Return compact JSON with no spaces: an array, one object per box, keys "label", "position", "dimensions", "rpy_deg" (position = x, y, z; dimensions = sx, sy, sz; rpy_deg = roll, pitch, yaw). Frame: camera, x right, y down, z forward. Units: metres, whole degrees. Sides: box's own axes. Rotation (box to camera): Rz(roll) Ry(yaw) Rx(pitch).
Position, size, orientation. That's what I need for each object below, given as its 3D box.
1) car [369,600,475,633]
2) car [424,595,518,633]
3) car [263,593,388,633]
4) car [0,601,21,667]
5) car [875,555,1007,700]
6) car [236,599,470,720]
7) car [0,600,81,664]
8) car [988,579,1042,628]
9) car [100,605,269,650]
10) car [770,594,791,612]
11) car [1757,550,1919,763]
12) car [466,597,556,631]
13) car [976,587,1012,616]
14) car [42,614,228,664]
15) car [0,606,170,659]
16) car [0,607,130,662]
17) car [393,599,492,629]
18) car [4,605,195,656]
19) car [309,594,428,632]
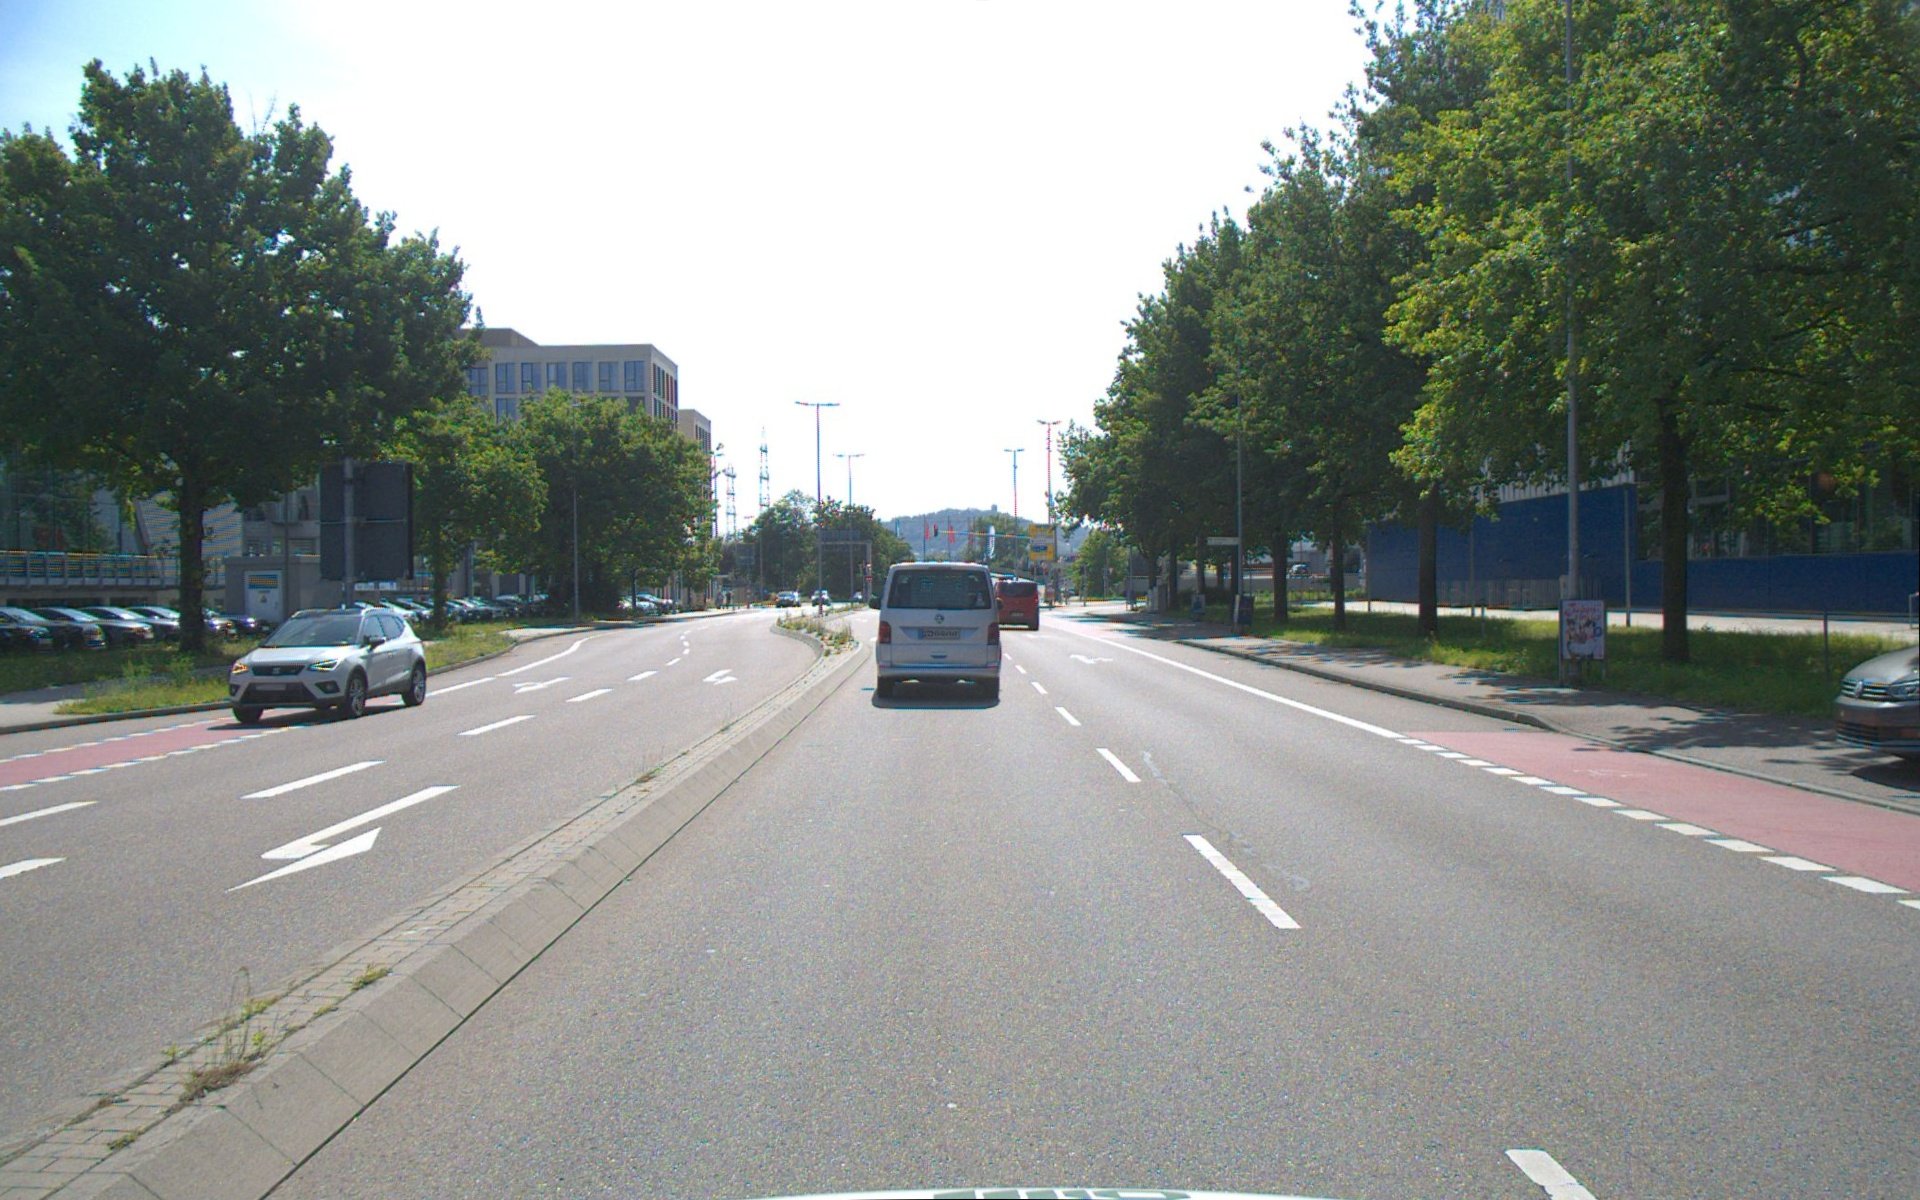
[{"label":"car","position":[-24.027,0.718,73.959],"dimensions":[4.091,1.096,1.954],"rpy_deg":[-4,1,-3]},{"label":"car","position":[-23.864,0.673,80.782],"dimensions":[3.907,1.467,2.000],"rpy_deg":[-5,0,-1]},{"label":"car","position":[-23.726,0.483,61.948],"dimensions":[3.909,1.176,1.896],"rpy_deg":[-4,1,-3]},{"label":"car","position":[-24.014,0.822,37.343],"dimensions":[4.410,1.502,1.979],"rpy_deg":[-1,0,-3]},{"label":"car","position":[-0.304,0.368,25.282],"dimensions":[1.846,2.025,3.999],"rpy_deg":[0,0,-1]},{"label":"car","position":[-9.456,0.870,26.151],"dimensions":[1.952,1.646,4.106],"rpy_deg":[-2,0,3]},{"label":"car","position":[-24.006,0.794,40.007],"dimensions":[4.410,1.502,1.918],"rpy_deg":[-1,0,-3]},{"label":"car","position":[2.280,0.120,69.414],"dimensions":[1.928,2.002,5.123],"rpy_deg":[0,0,-2]},{"label":"car","position":[-24.514,0.856,52.376],"dimensions":[4.410,1.312,1.918],"rpy_deg":[-1,0,-3]},{"label":"car","position":[-17.732,0.285,163.479],"dimensions":[1.704,1.646,4.206],"rpy_deg":[-4,1,-3]},{"label":"car","position":[9.527,0.391,14.280],"dimensions":[4.350,1.723,1.846],"rpy_deg":[-2,0,6]},{"label":"car","position":[-24.070,0.754,88.741],"dimensions":[4.218,1.467,2.051],"rpy_deg":[-5,0,-2]},{"label":"car","position":[1.761,0.075,87.635],"dimensions":[1.711,1.484,4.475],"rpy_deg":[0,0,-1]},{"label":"car","position":[-24.206,1.120,48.636],"dimensions":[4.410,1.312,2.003],"rpy_deg":[-1,0,-3]},{"label":"car","position":[-23.997,0.864,44.617],"dimensions":[4.410,1.312,1.918],"rpy_deg":[-1,0,-3]},{"label":"car","position":[-24.095,0.894,42.608],"dimensions":[4.410,1.312,1.918],"rpy_deg":[-1,0,-3]},{"label":"car","position":[-24.002,0.661,76.786],"dimensions":[4.027,1.052,1.696],"rpy_deg":[-4,1,-3]},{"label":"car","position":[-24.141,0.841,46.520],"dimensions":[4.410,1.312,1.691],"rpy_deg":[-1,0,-3]},{"label":"car","position":[-24.146,0.513,67.612],"dimensions":[4.091,1.211,1.954],"rpy_deg":[-4,1,-3]}]
